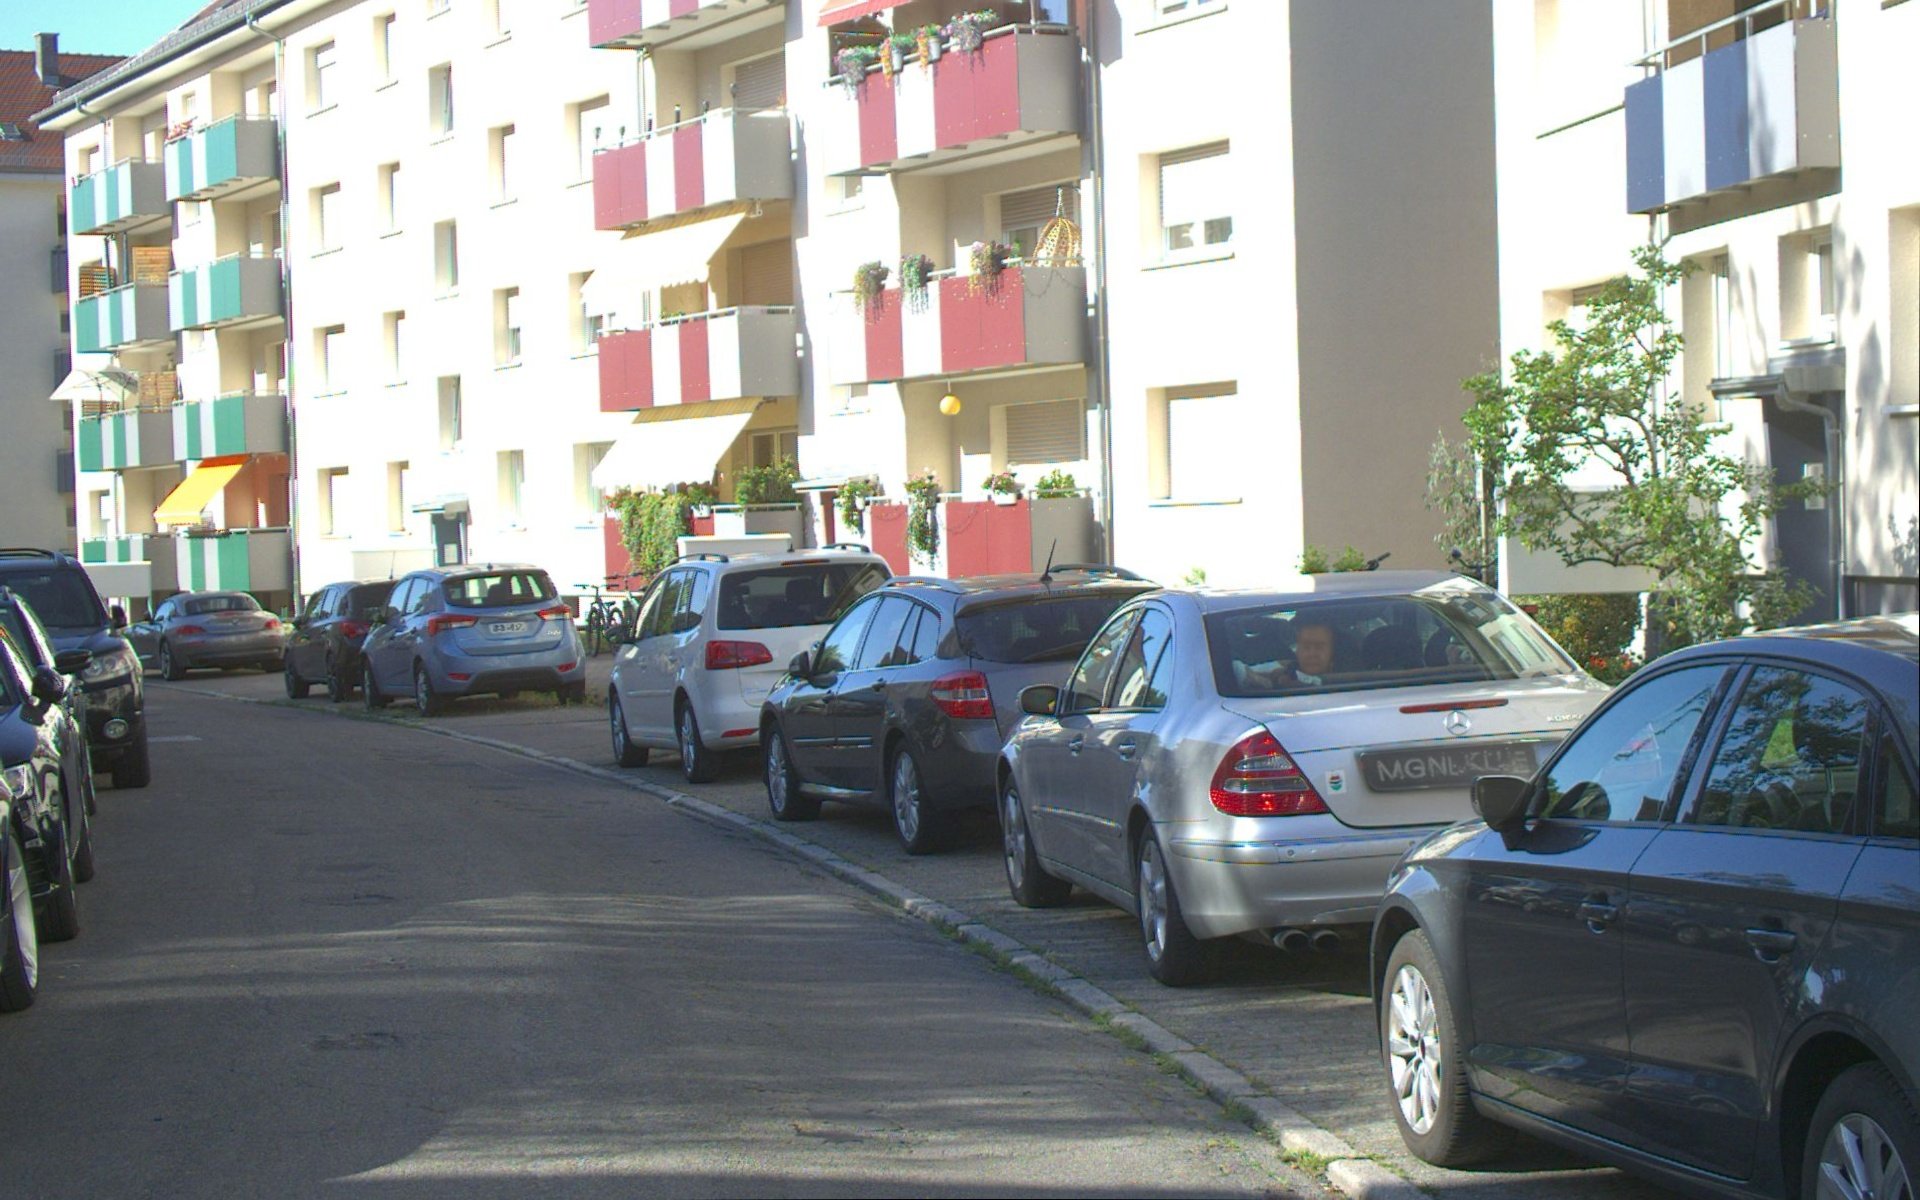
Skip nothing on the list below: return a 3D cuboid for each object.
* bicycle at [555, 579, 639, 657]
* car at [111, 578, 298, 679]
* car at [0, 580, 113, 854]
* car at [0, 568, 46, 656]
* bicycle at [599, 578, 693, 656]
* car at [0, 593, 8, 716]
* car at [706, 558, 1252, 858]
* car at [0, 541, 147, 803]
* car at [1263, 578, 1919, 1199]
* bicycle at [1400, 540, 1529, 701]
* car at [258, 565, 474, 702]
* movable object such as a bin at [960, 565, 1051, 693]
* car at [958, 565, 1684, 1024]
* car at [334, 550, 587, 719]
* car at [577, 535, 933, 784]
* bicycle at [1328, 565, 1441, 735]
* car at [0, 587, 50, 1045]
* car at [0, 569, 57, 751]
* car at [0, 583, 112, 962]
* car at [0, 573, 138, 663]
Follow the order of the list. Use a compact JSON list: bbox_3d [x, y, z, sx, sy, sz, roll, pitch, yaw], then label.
[{"bbox_3d":[-5.015,0.244,47.431,0.497,1.016,1.842,-4,2,-26],"label":"bicycle"},{"bbox_3d":[-11.641,0.414,52.812,1.685,1.358,4.240,-5,2,-27],"label":"car"},{"bbox_3d":[-5.946,0.665,20.423,1.555,1.437,3.969,-5,1,-12],"label":"car"},{"bbox_3d":[-18.780,0.252,65.038,1.681,1.582,4.012,-3,2,-32],"label":"car"},{"bbox_3d":[-4.364,0.229,47.707,0.617,0.974,1.896,-6,4,-25],"label":"bicycle"},{"bbox_3d":[-12.459,0.586,40.731,1.693,1.384,4.158,-3,3,-23],"label":"car"},{"bbox_3d":[-0.047,0.561,19.724,1.693,1.427,4.689,-3,0,-18],"label":"car"},{"bbox_3d":[-6.970,0.504,25.422,1.555,1.708,4.339,-5,1,-16],"label":"car"},{"bbox_3d":[2.131,0.696,7.751,1.677,1.402,4.547,-2,1,-11],"label":"car"},{"bbox_3d":[3.976,0.143,27.210,0.514,1.198,1.834,-3,1,-6],"label":"bicycle"},{"bbox_3d":[-7.494,0.388,43.095,1.735,1.503,3.886,-5,2,-23],"label":"car"},{"bbox_3d":[0.394,0.255,30.031,0.583,1.052,0.641,-5,0,-11],"label":"movable object such as a bin"},{"bbox_3d":[1.222,0.619,13.829,1.677,1.442,4.725,-2,1,-9],"label":"car"},{"bbox_3d":[-5.627,0.332,38.339,1.765,1.630,4.042,-4,3,-22],"label":"car"},{"bbox_3d":[-1.666,0.419,26.294,1.693,1.650,4.391,-3,1,-16],"label":"car"},{"bbox_3d":[3.217,0.356,26.163,0.514,1.198,1.761,-3,1,-2],"label":"bicycle"},{"bbox_3d":[-3.799,0.774,9.874,1.678,1.448,4.621,-5,1,-8],"label":"car"},{"bbox_3d":[-9.306,0.535,31.445,1.693,1.555,4.157,-1,0,-19],"label":"car"},{"bbox_3d":[-4.753,0.714,15.274,1.677,1.437,4.281,-5,1,-12],"label":"car"},{"bbox_3d":[-16.156,0.327,61.063,1.738,1.427,4.356,-4,2,-31],"label":"car"}]
